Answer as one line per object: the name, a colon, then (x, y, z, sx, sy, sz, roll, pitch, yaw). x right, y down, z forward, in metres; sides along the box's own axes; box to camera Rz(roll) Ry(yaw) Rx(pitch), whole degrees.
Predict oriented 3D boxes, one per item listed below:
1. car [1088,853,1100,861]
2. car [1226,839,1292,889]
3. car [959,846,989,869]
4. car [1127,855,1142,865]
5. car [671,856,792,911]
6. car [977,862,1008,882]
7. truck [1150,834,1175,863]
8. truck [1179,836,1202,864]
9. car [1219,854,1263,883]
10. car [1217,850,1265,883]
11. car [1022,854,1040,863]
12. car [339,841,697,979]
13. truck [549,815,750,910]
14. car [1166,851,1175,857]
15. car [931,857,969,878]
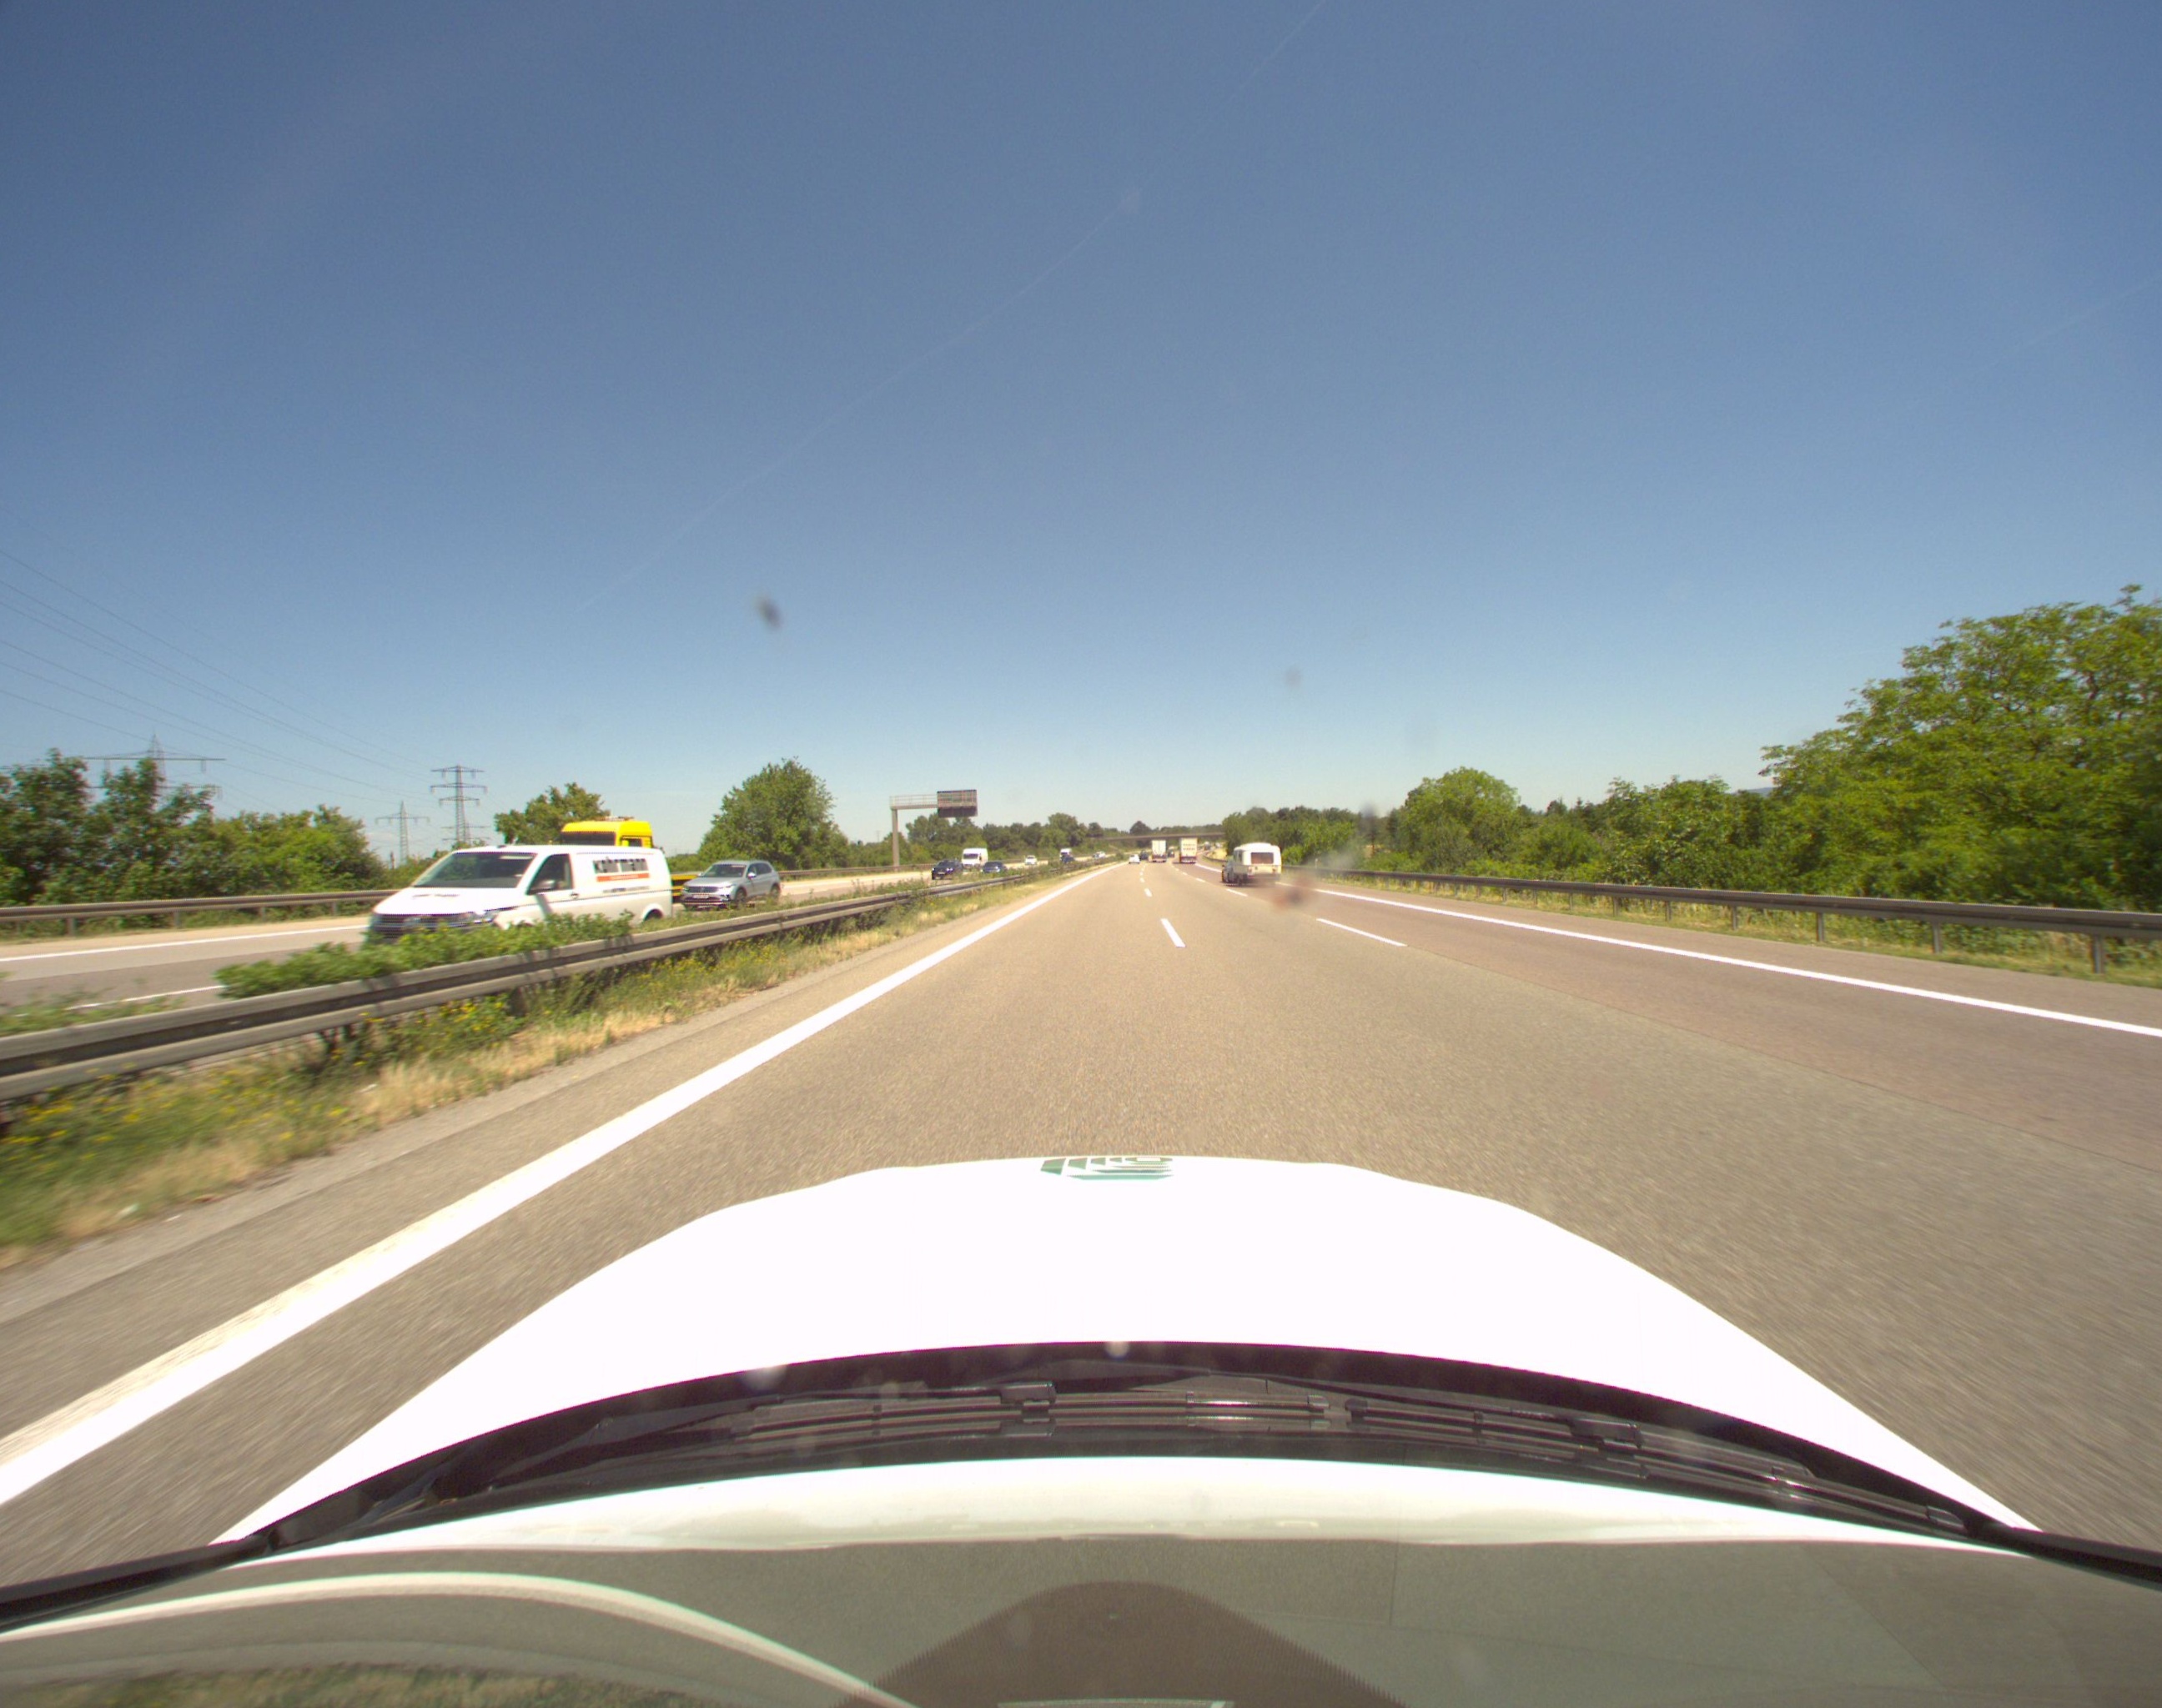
car: (2.585, 0.580, 161.286, 1.737, 1.466, 4.258, -1, 0, 7)
car: (9.075, 0.448, 42.050, 2.432, 2.321, 5.326, -2, 1, 3)
car: (-11.853, 0.413, 90.775, 2.122, 2.477, 6.338, -1, 0, 3)
car: (8.562, 0.890, 129.871, 1.815, 1.547, 4.335, 0, 1, 13)
car: (-12.055, 0.949, 28.516, 1.986, 1.736, 4.817, -1, 0, 2)
car: (-6.392, 1.304, 59.035, 1.625, 1.354, 3.831, -1, 0, 2)
truck: (15.054, -1.052, 149.137, 3.645, 5.018, 16.058, 0, 1, 9)
truck: (18.283, -0.818, 135.092, 3.162, 4.304, 16.060, 0, 1, 9)
car: (9.314, 0.797, 47.763, 1.878, 1.515, 5.386, 0, 1, 4)
car: (9.279, 0.686, 47.556, 2.036, 1.658, 5.516, -2, 1, 4)
car: (-8.065, 0.683, 132.107, 1.980, 1.458, 4.101, -1, 0, 12)
car: (-9.129, 0.779, 14.094, 1.985, 1.882, 5.726, -1, 0, 3)
truck: (-16.431, 0.293, 32.124, 2.512, 3.152, 9.671, -1, 0, 2)
car: (23.289, 0.041, 211.527, 1.815, 1.547, 4.335, 0, 1, 13)
car: (-9.838, 1.016, 61.555, 1.971, 1.510, 4.238, -1, 0, 2)
